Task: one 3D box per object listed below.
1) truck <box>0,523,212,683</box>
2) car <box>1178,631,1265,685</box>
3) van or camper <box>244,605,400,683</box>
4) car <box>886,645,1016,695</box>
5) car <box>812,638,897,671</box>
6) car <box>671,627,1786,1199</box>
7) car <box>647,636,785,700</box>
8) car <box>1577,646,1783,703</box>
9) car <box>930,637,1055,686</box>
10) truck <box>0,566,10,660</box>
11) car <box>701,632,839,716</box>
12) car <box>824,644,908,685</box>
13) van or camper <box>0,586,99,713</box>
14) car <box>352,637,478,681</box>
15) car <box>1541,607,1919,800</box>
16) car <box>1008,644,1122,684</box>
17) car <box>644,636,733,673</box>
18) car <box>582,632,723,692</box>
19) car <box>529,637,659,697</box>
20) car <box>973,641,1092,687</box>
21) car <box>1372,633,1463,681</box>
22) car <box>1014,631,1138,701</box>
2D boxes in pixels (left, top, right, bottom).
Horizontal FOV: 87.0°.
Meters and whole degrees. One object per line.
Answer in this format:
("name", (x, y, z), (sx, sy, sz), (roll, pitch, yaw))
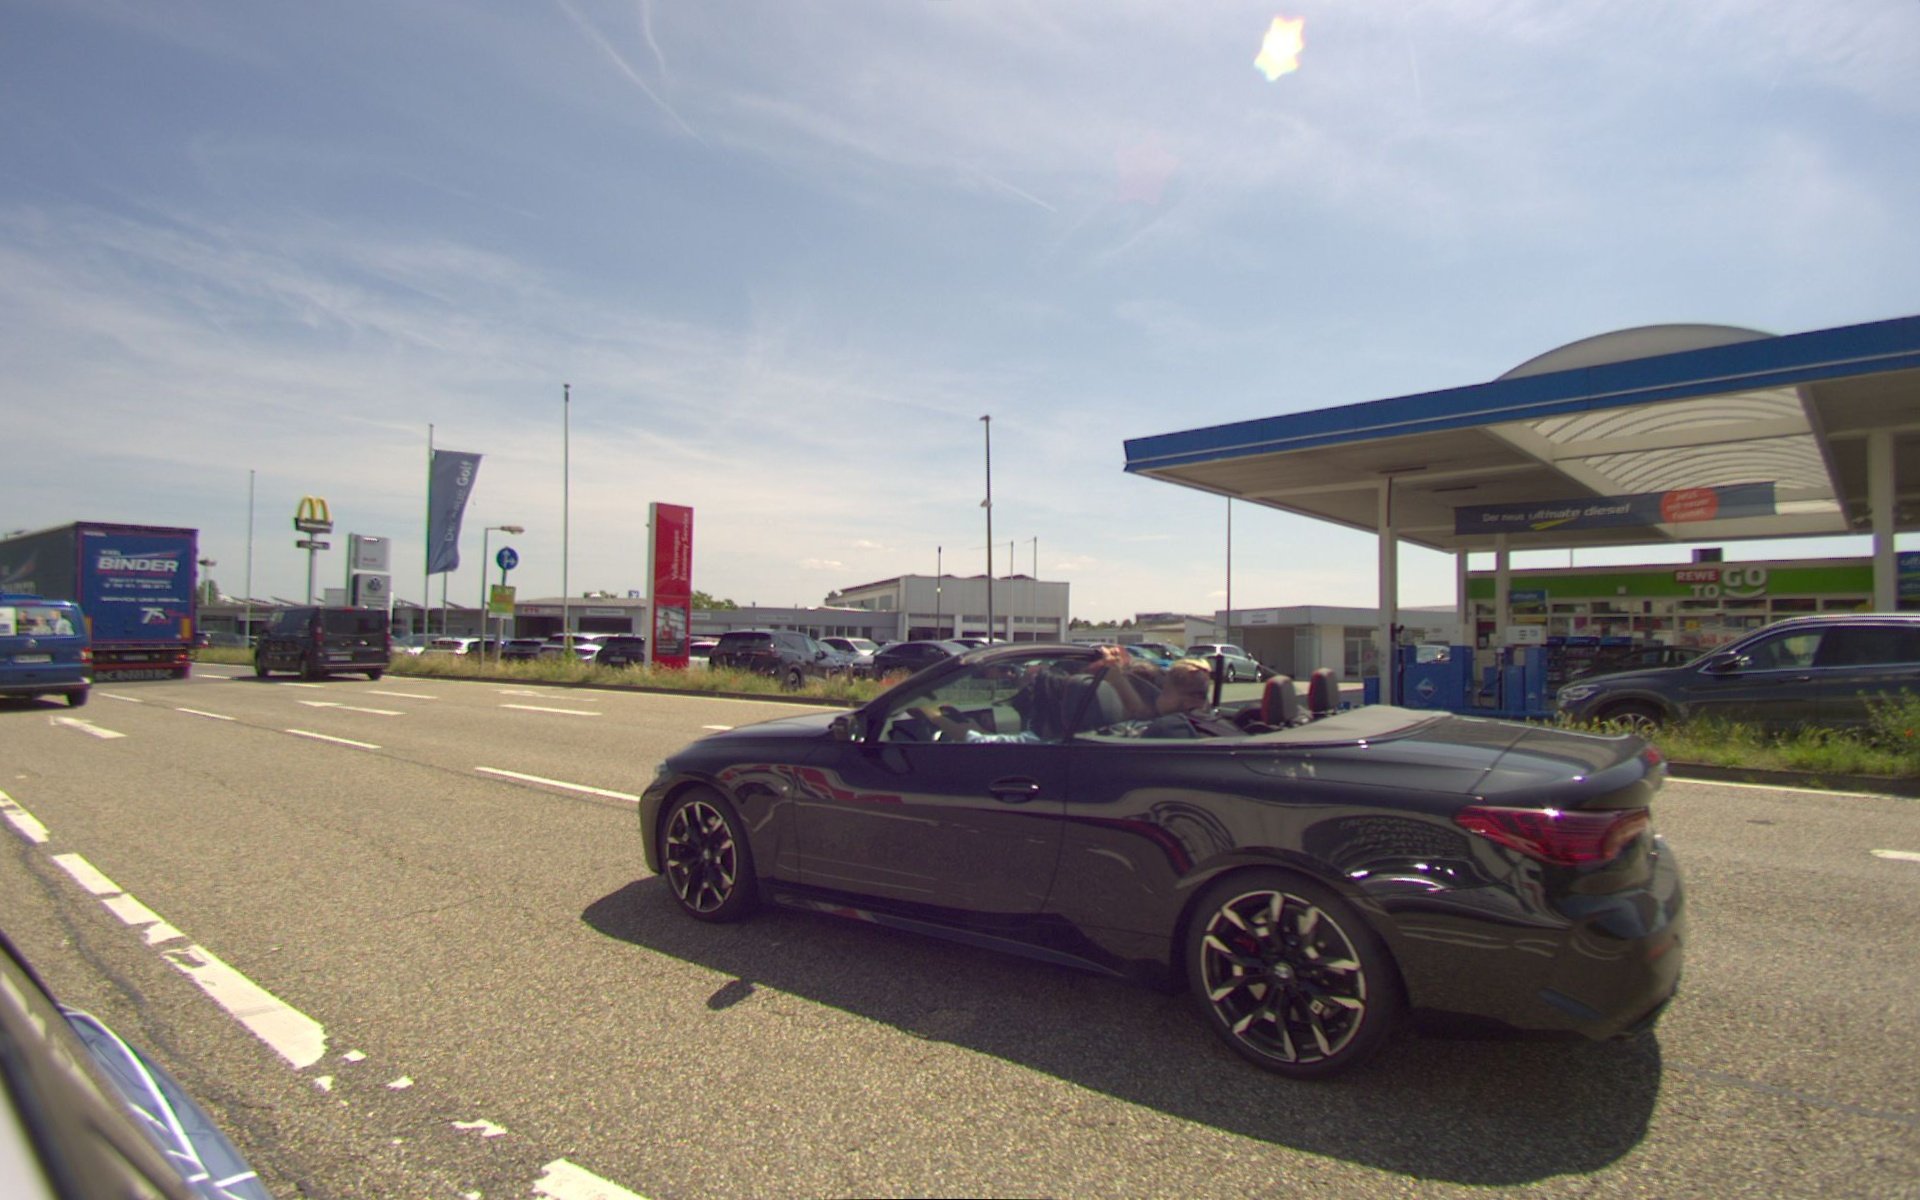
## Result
("truck", (-27.594, 0.312, 31.140), (16.980, 3.919, 2.817), (-2, -3, 38))
("car", (10.182, 2.284, 39.210), (1.860, 1.937, 3.948), (-2, -6, 38))
("van or camper", (-17.574, 1.195, 27.761), (5.377, 1.950, 1.974), (-2, -3, 39))
("car", (-0.320, 2.176, 32.191), (3.994, 1.452, 1.690), (-2, -3, 38))
("car", (-4.725, 2.398, 45.017), (3.700, 1.431, 1.619), (-2, -3, 38))
("car", (0.807, 0.795, 4.376), (4.169, 1.281, 1.831), (-1, -1, 37))
("car", (-6.295, 1.723, 26.588), (1.980, 1.530, 3.983), (0, -2, 13))
("car", (19.401, 1.952, 27.376), (4.380, 1.389, 1.973), (-2, -3, 41))
("car", (1.056, 2.033, 34.121), (3.994, 1.547, 1.690), (-2, -3, 38))
("truck", (-47.503, 0.576, 46.151), (16.444, 3.918, 2.766), (0, -1, 35))
("car", (-4.215, 1.590, 23.083), (1.822, 1.717, 3.987), (0, -2, 10))
("car", (-3.456, 2.354, 37.802), (1.980, 1.409, 3.983), (0, -2, 13))
("van or camper", (-18.234, 0.908, 19.138), (5.333, 2.154, 1.820), (-2, -2, 37))
("car", (-19.479, 2.105, 36.402), (1.762, 1.466, 4.249), (1, -3, 9))
("car", (8.696, 0.977, 10.305), (4.565, 1.732, 1.810), (-2, -3, 40))
("car", (3.891, 2.347, 37.903), (3.994, 1.406, 1.690), (-2, -3, 38))
("car", (-11.021, 2.168, 40.982), (3.700, 1.431, 1.619), (-2, -3, 38))
("car", (-8.293, 1.642, 27.658), (1.804, 1.497, 3.978), (-1, -2, 17))
("car", (-10.541, 1.903, 29.505), (1.762, 1.598, 4.170), (0, -2, 9))
("car", (2.541, 2.246, 36.122), (3.994, 1.547, 1.690), (-2, -3, 38))
("car", (16.770, 2.059, 37.051), (1.948, 1.652, 3.945), (-2, -3, 41))
("car", (3.536, 1.928, 30.321), (1.997, 1.918, 3.949), (-2, -3, 37))
